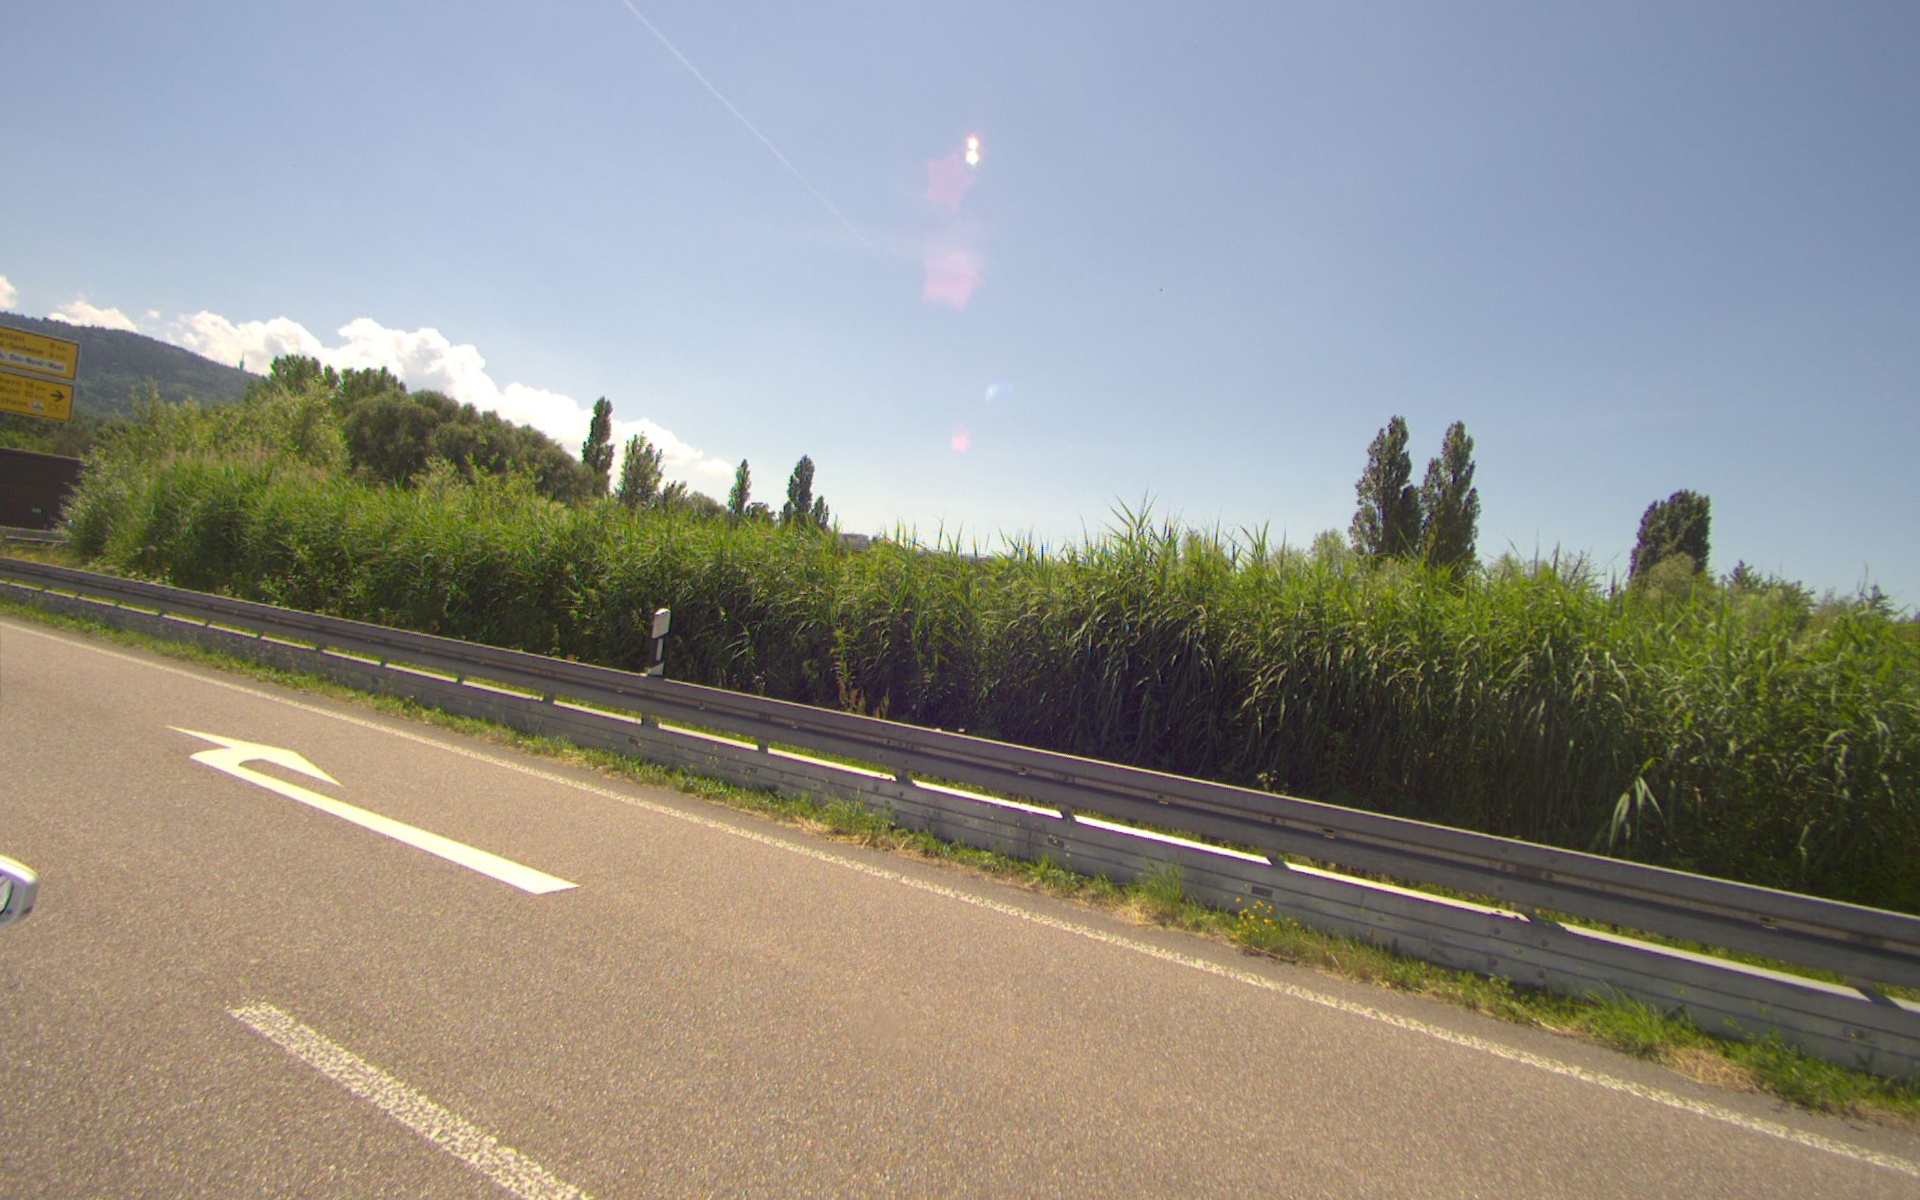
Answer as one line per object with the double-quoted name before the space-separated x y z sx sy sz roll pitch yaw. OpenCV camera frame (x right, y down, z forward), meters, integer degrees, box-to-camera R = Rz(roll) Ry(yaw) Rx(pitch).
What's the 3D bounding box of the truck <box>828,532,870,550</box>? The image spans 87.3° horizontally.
"truck" -18.302 -9.691 165.421 6.553 2.255 2.623 6 -1 32
